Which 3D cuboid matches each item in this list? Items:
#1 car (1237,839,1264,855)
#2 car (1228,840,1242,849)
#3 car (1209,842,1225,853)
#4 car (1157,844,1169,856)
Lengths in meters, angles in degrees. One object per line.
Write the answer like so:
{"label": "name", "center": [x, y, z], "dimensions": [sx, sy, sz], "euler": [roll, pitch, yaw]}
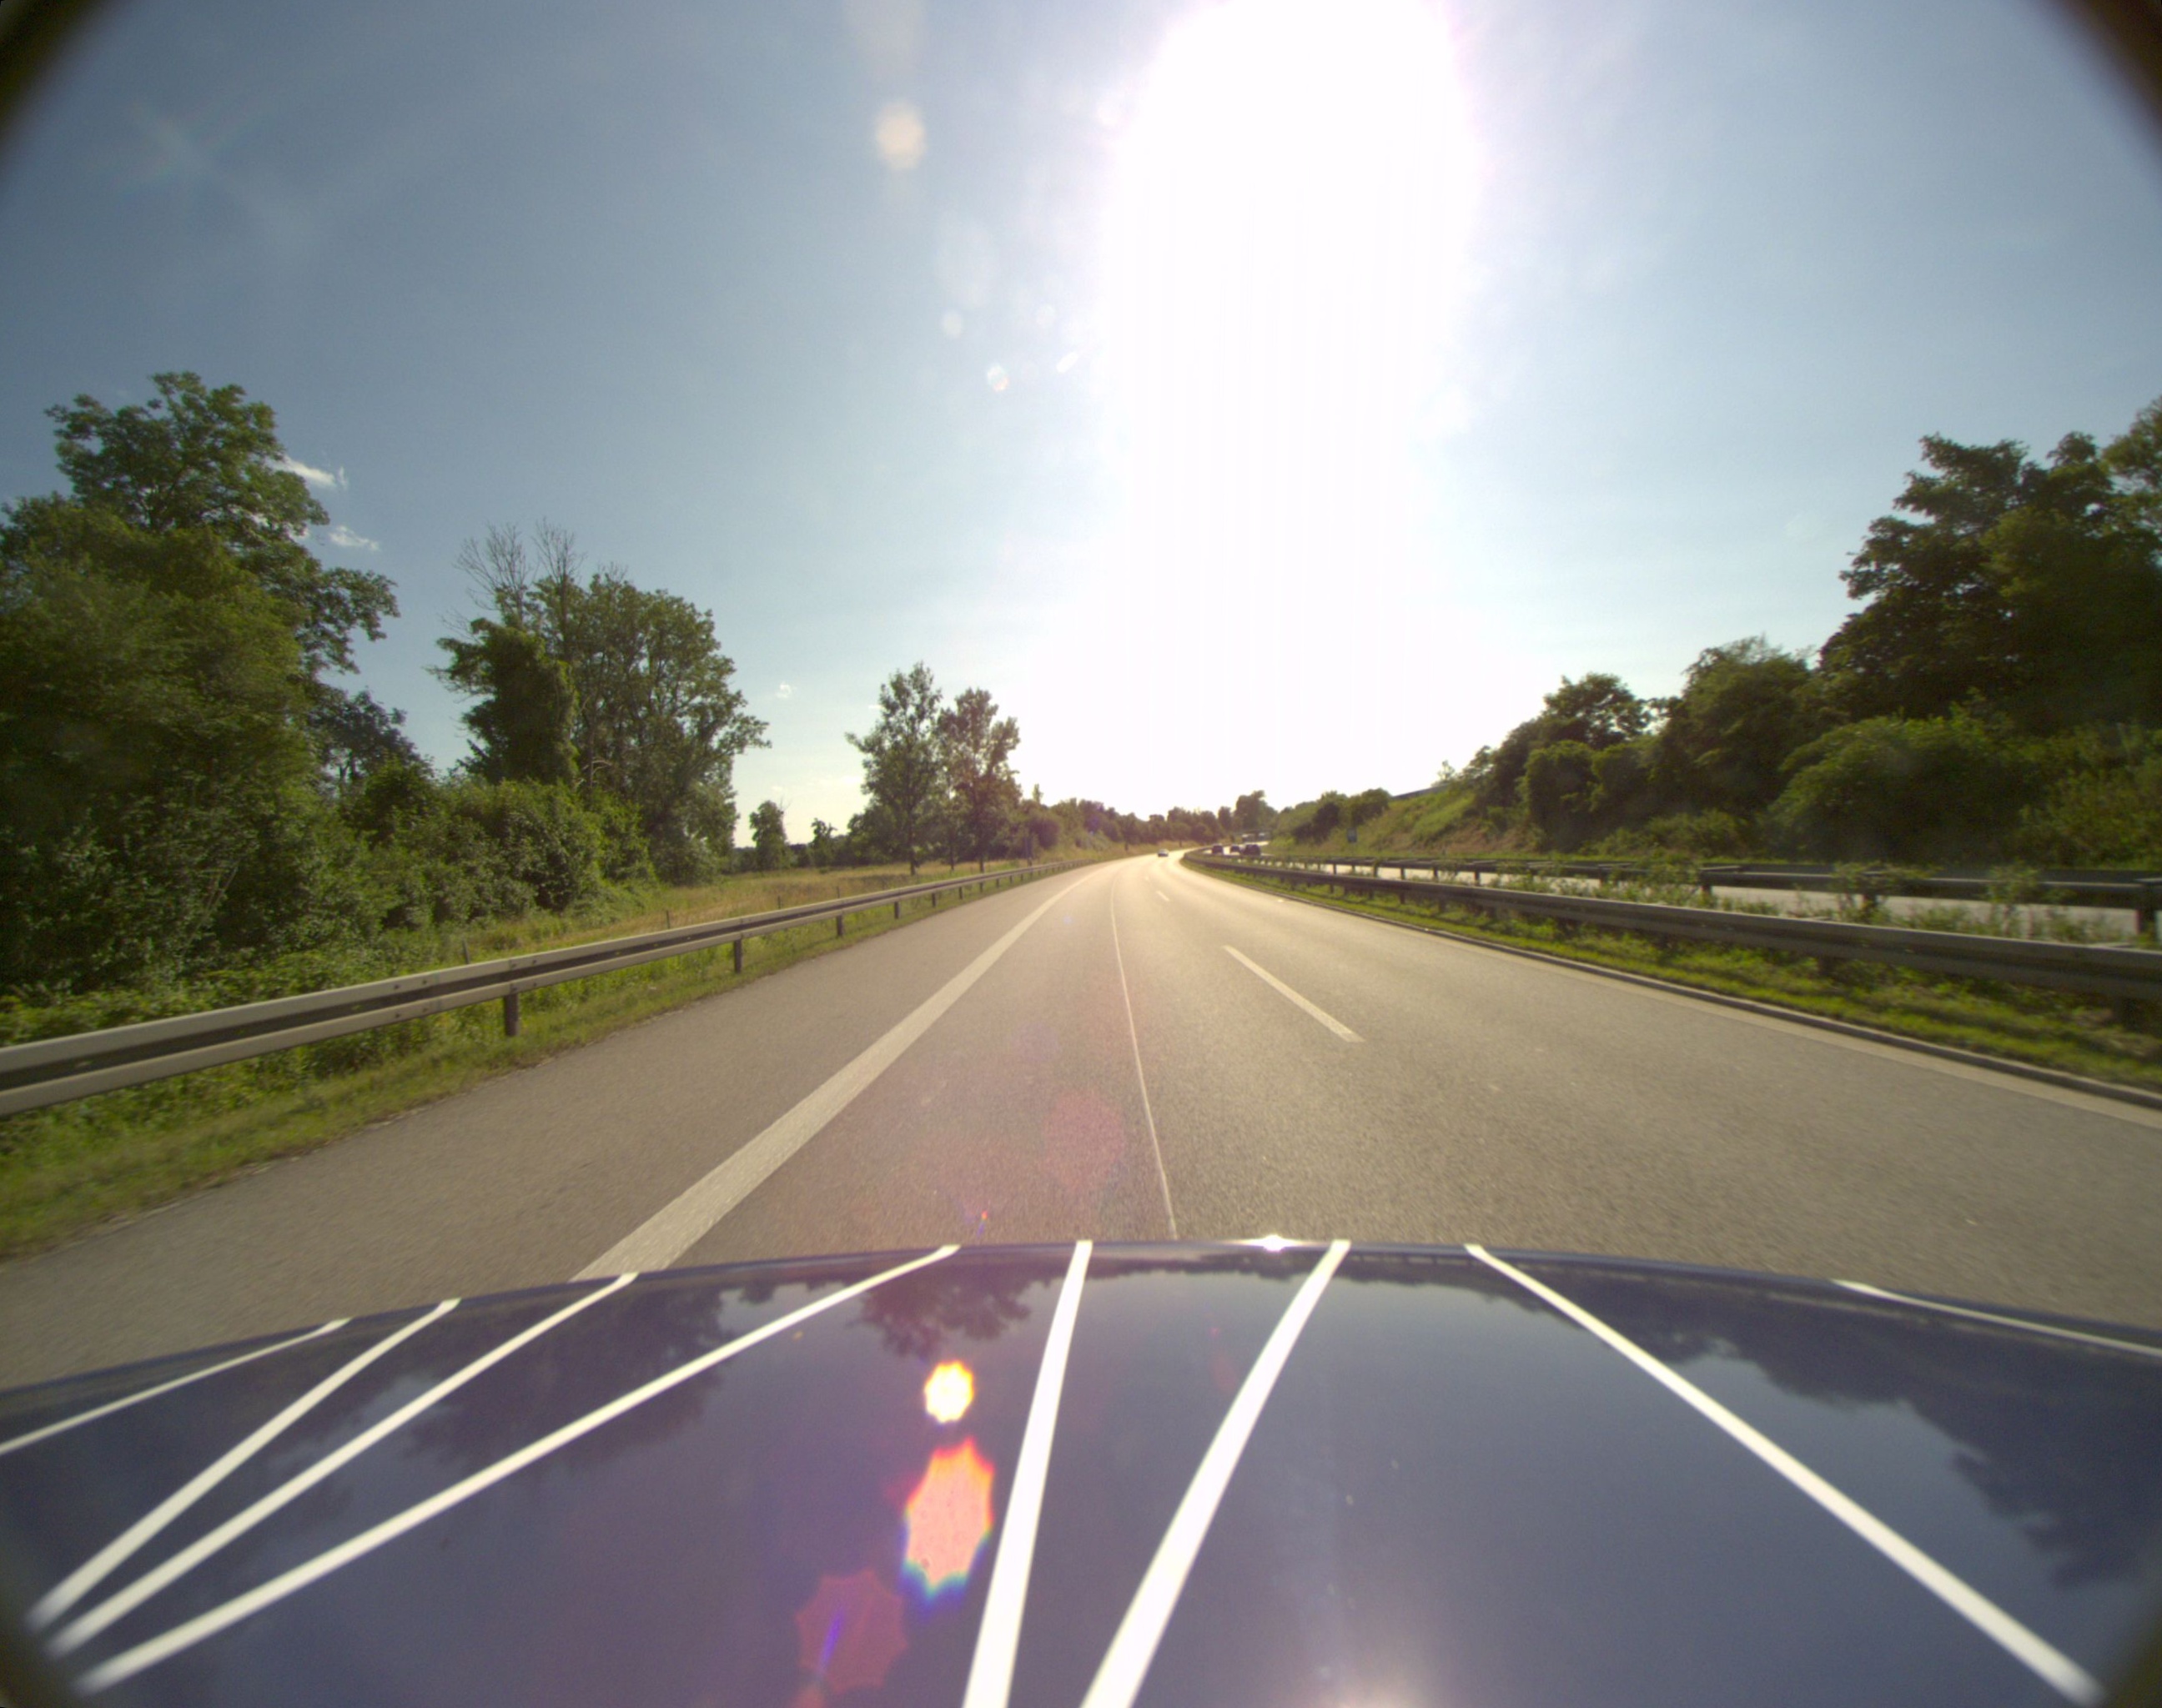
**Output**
{"label": "car", "center": [18.291, -0.807, 82.266], "dimensions": [1.998, 1.642, 4.434], "euler": [-1, 1, 2]}
{"label": "car", "center": [26.996, -1.716, 133.134], "dimensions": [1.823, 1.471, 4.686], "euler": [-3, 1, 5]}
{"label": "car", "center": [21.582, -0.973, 120.932], "dimensions": [2.072, 1.669, 4.888], "euler": [-1, 0, 4]}
{"label": "car", "center": [15.310, -0.738, 142.046], "dimensions": [1.998, 2.002, 4.600], "euler": [-4, 1, 4]}
